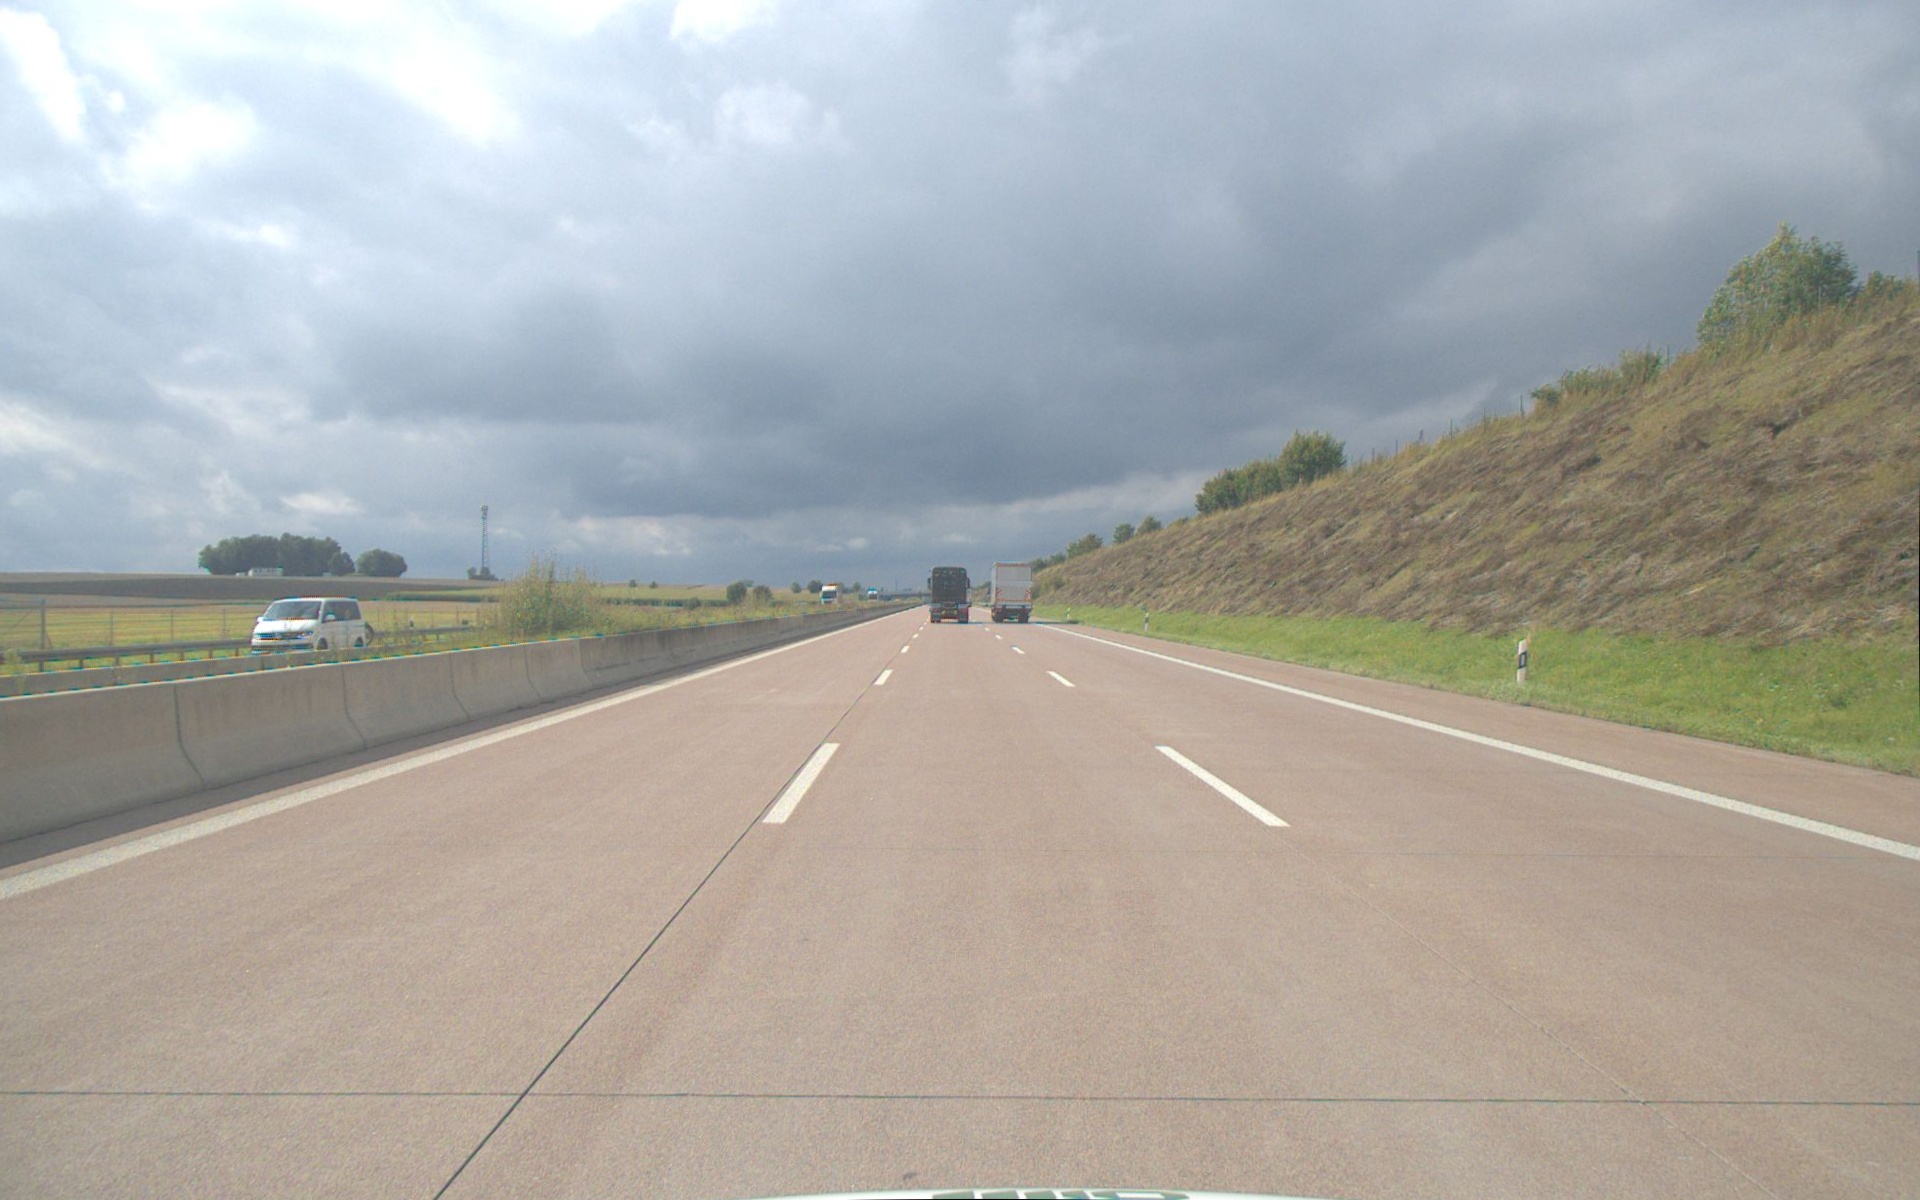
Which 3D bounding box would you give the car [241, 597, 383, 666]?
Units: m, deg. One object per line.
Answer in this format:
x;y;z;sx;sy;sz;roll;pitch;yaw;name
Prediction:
-19.193;0.884;49.269;2.016;1.878;5.727;-1;0;-1;car

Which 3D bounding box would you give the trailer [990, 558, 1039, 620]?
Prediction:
3.715;-0.696;114.581;2.692;4.082;8.666;1;0;-2;trailer

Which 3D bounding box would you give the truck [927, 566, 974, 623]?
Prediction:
-0.702;-0.322;109.095;2.790;3.612;8.315;1;0;-2;truck
